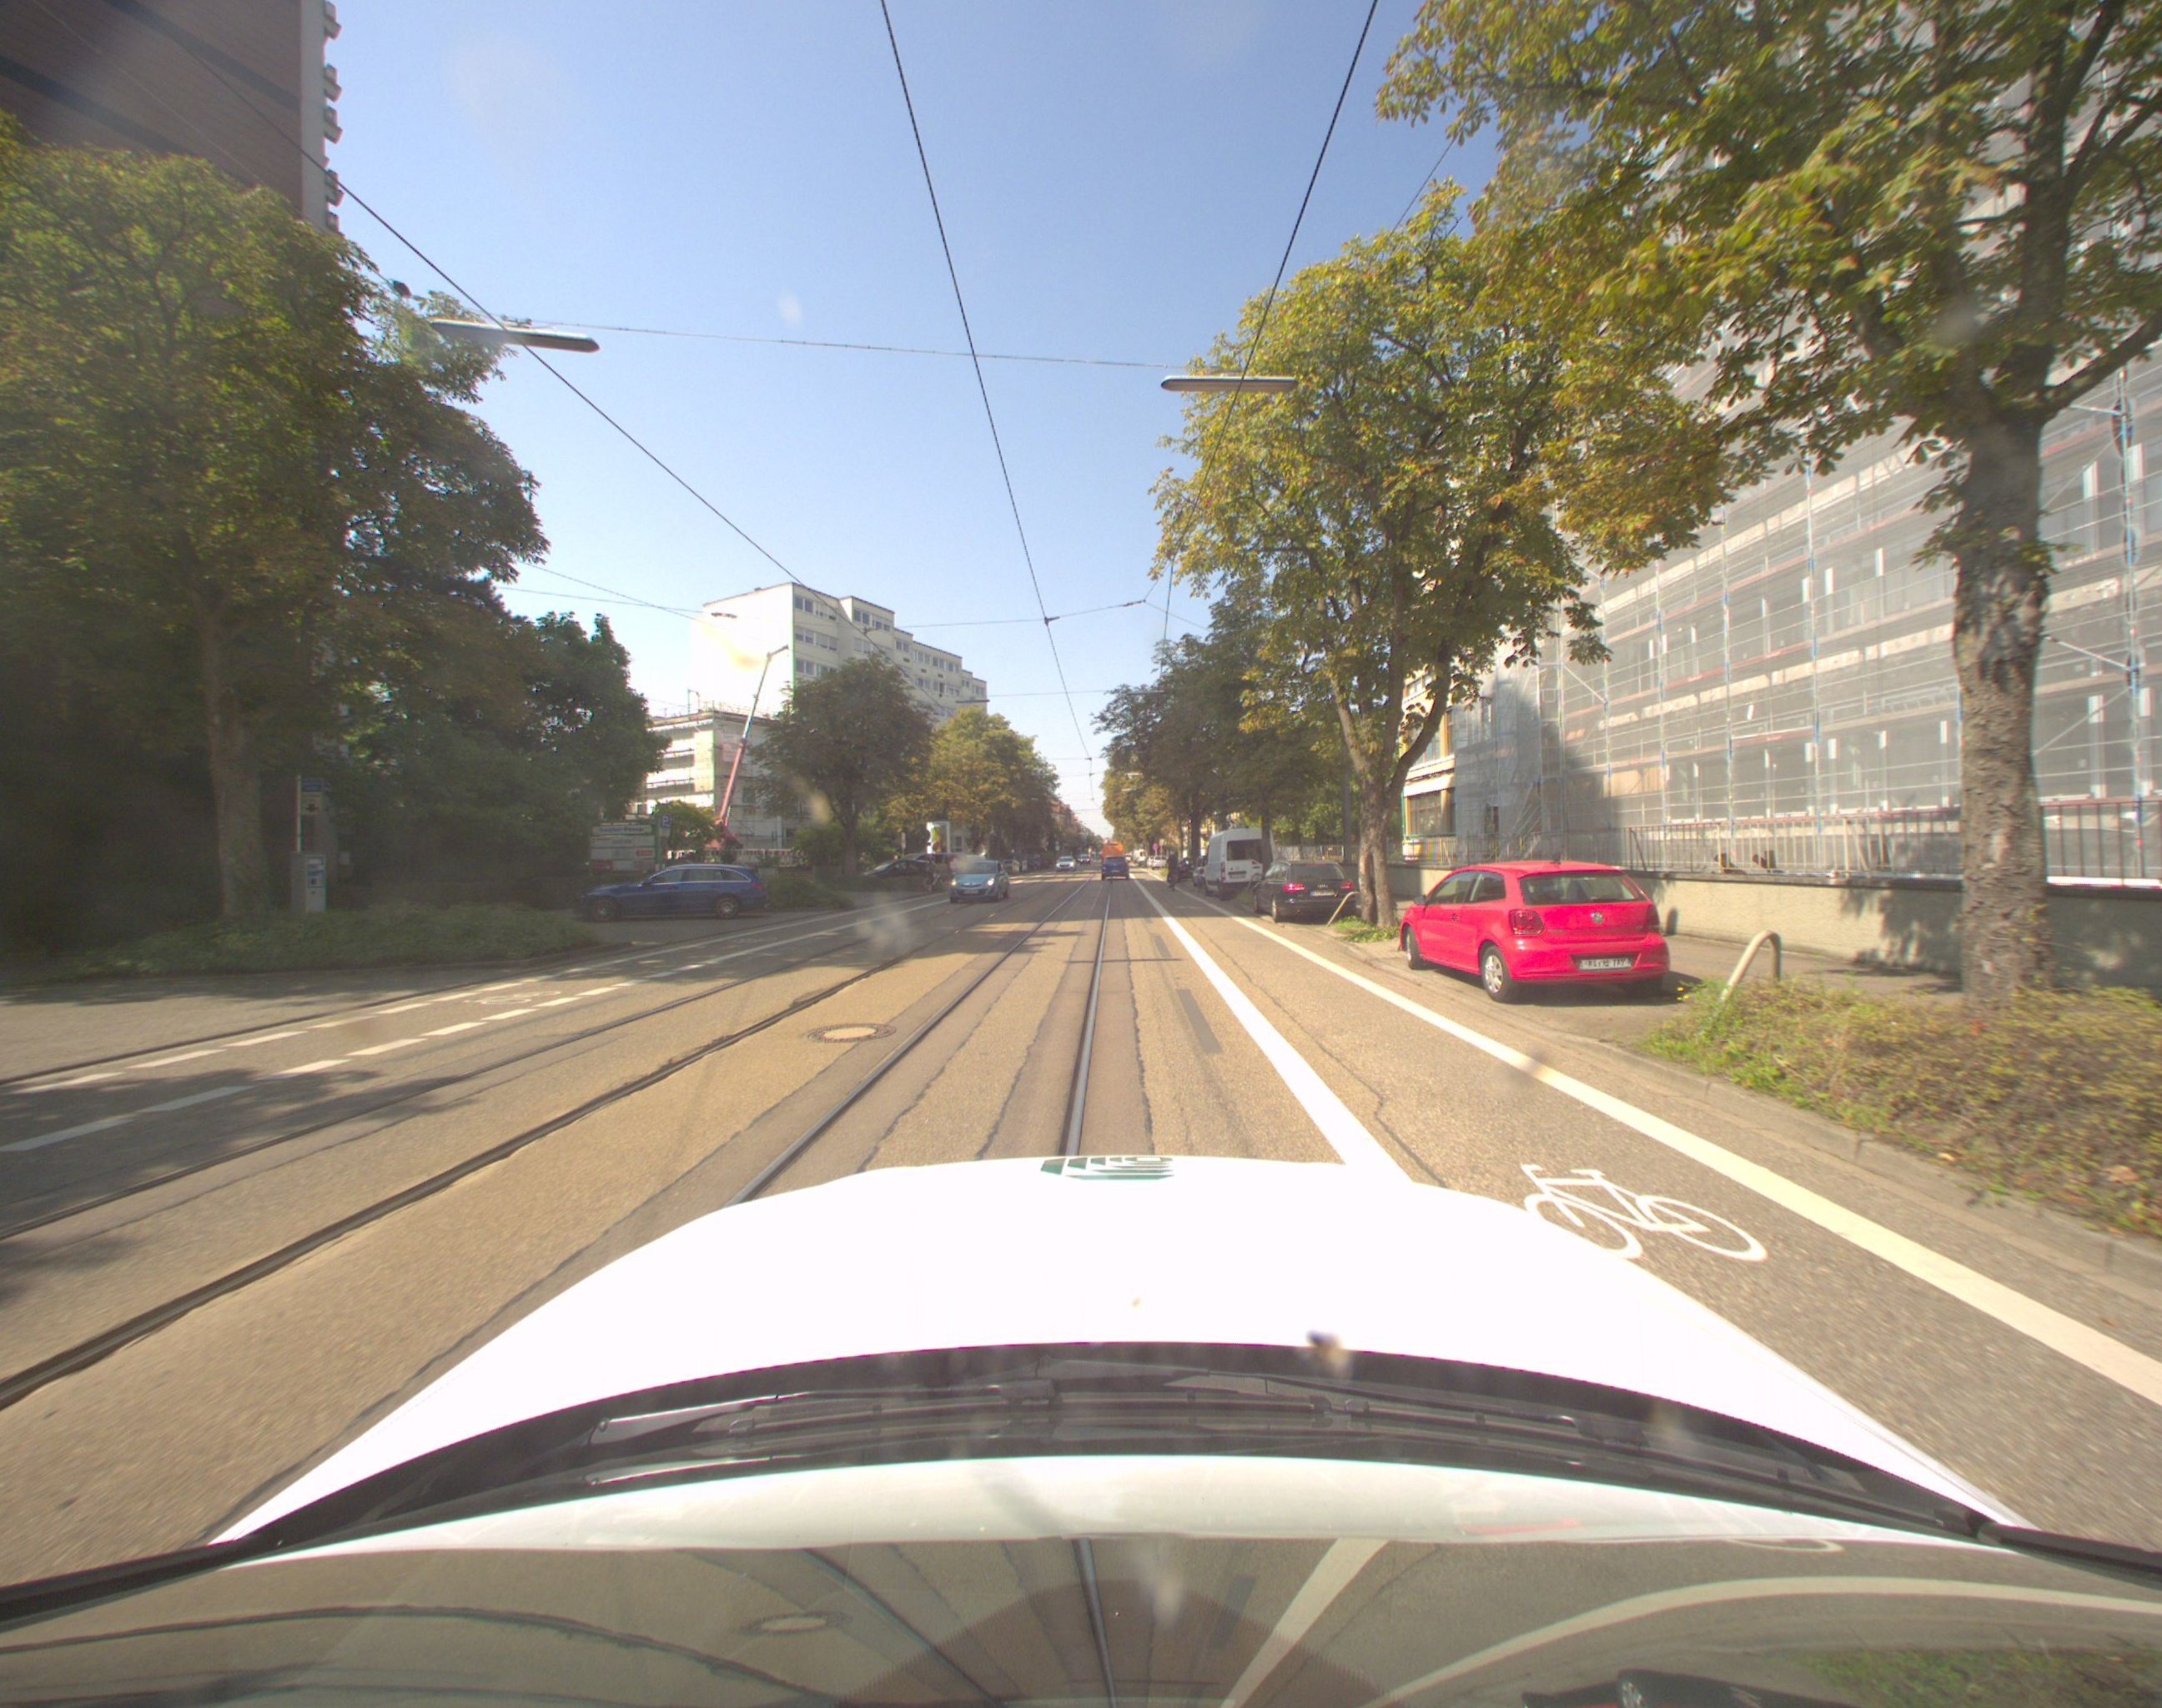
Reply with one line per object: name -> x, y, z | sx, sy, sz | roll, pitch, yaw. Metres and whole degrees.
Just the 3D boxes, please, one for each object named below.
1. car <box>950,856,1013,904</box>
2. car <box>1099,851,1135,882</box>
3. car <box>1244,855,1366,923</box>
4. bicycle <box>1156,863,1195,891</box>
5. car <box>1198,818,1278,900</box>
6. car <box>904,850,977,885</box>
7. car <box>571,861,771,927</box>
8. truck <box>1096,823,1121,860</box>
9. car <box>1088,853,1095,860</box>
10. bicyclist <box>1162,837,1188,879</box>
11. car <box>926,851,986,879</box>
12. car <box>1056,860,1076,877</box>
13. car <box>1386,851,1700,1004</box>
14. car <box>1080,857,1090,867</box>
car -> -3.524, 0.885, 29.390 | 1.627, 1.585, 4.190 | -1, 0, 1
car -> 2.362, 0.749, 53.270 | 2.127, 1.858, 5.572 | -2, 0, 3
car -> 5.310, 0.770, 19.904 | 1.901, 1.431, 4.293 | -1, 0, 1
bicycle -> 4.143, 1.014, 36.211 | 1.396, 1.134, 4.002 | -1, -2, 2
car -> 5.754, 0.154, 30.497 | 1.986, 2.755, 5.763 | -1, 0, 1
car -> -8.507, 0.794, 49.589 | 4.021, 2.013, 1.835 | -1, 0, -41
car -> -10.763, 0.998, 21.818 | 4.587, 1.552, 1.986 | -1, 0, -22
truck -> 2.518, -1.070, 73.647 | 2.127, 3.124, 6.089 | -2, 0, 3
car -> 2.800, 0.746, 213.453 | 1.740, 1.796, 4.001 | -1, 0, 1
bicyclist -> 4.163, 0.174, 36.200 | 1.028, 1.812, 1.017 | -1, 0, 2
car -> -9.230, 0.791, 60.294 | 4.021, 2.013, 1.835 | -1, 0, -41
car -> -1.483, 1.411, 81.556 | 1.892, 1.562, 4.123 | -1, 0, 1
car -> 5.184, 0.707, 9.758 | 1.734, 1.462, 3.685 | -1, 0, 1
car -> 0.758, 1.359, 141.746 | 1.621, 1.704, 4.001 | -1, 0, 1
